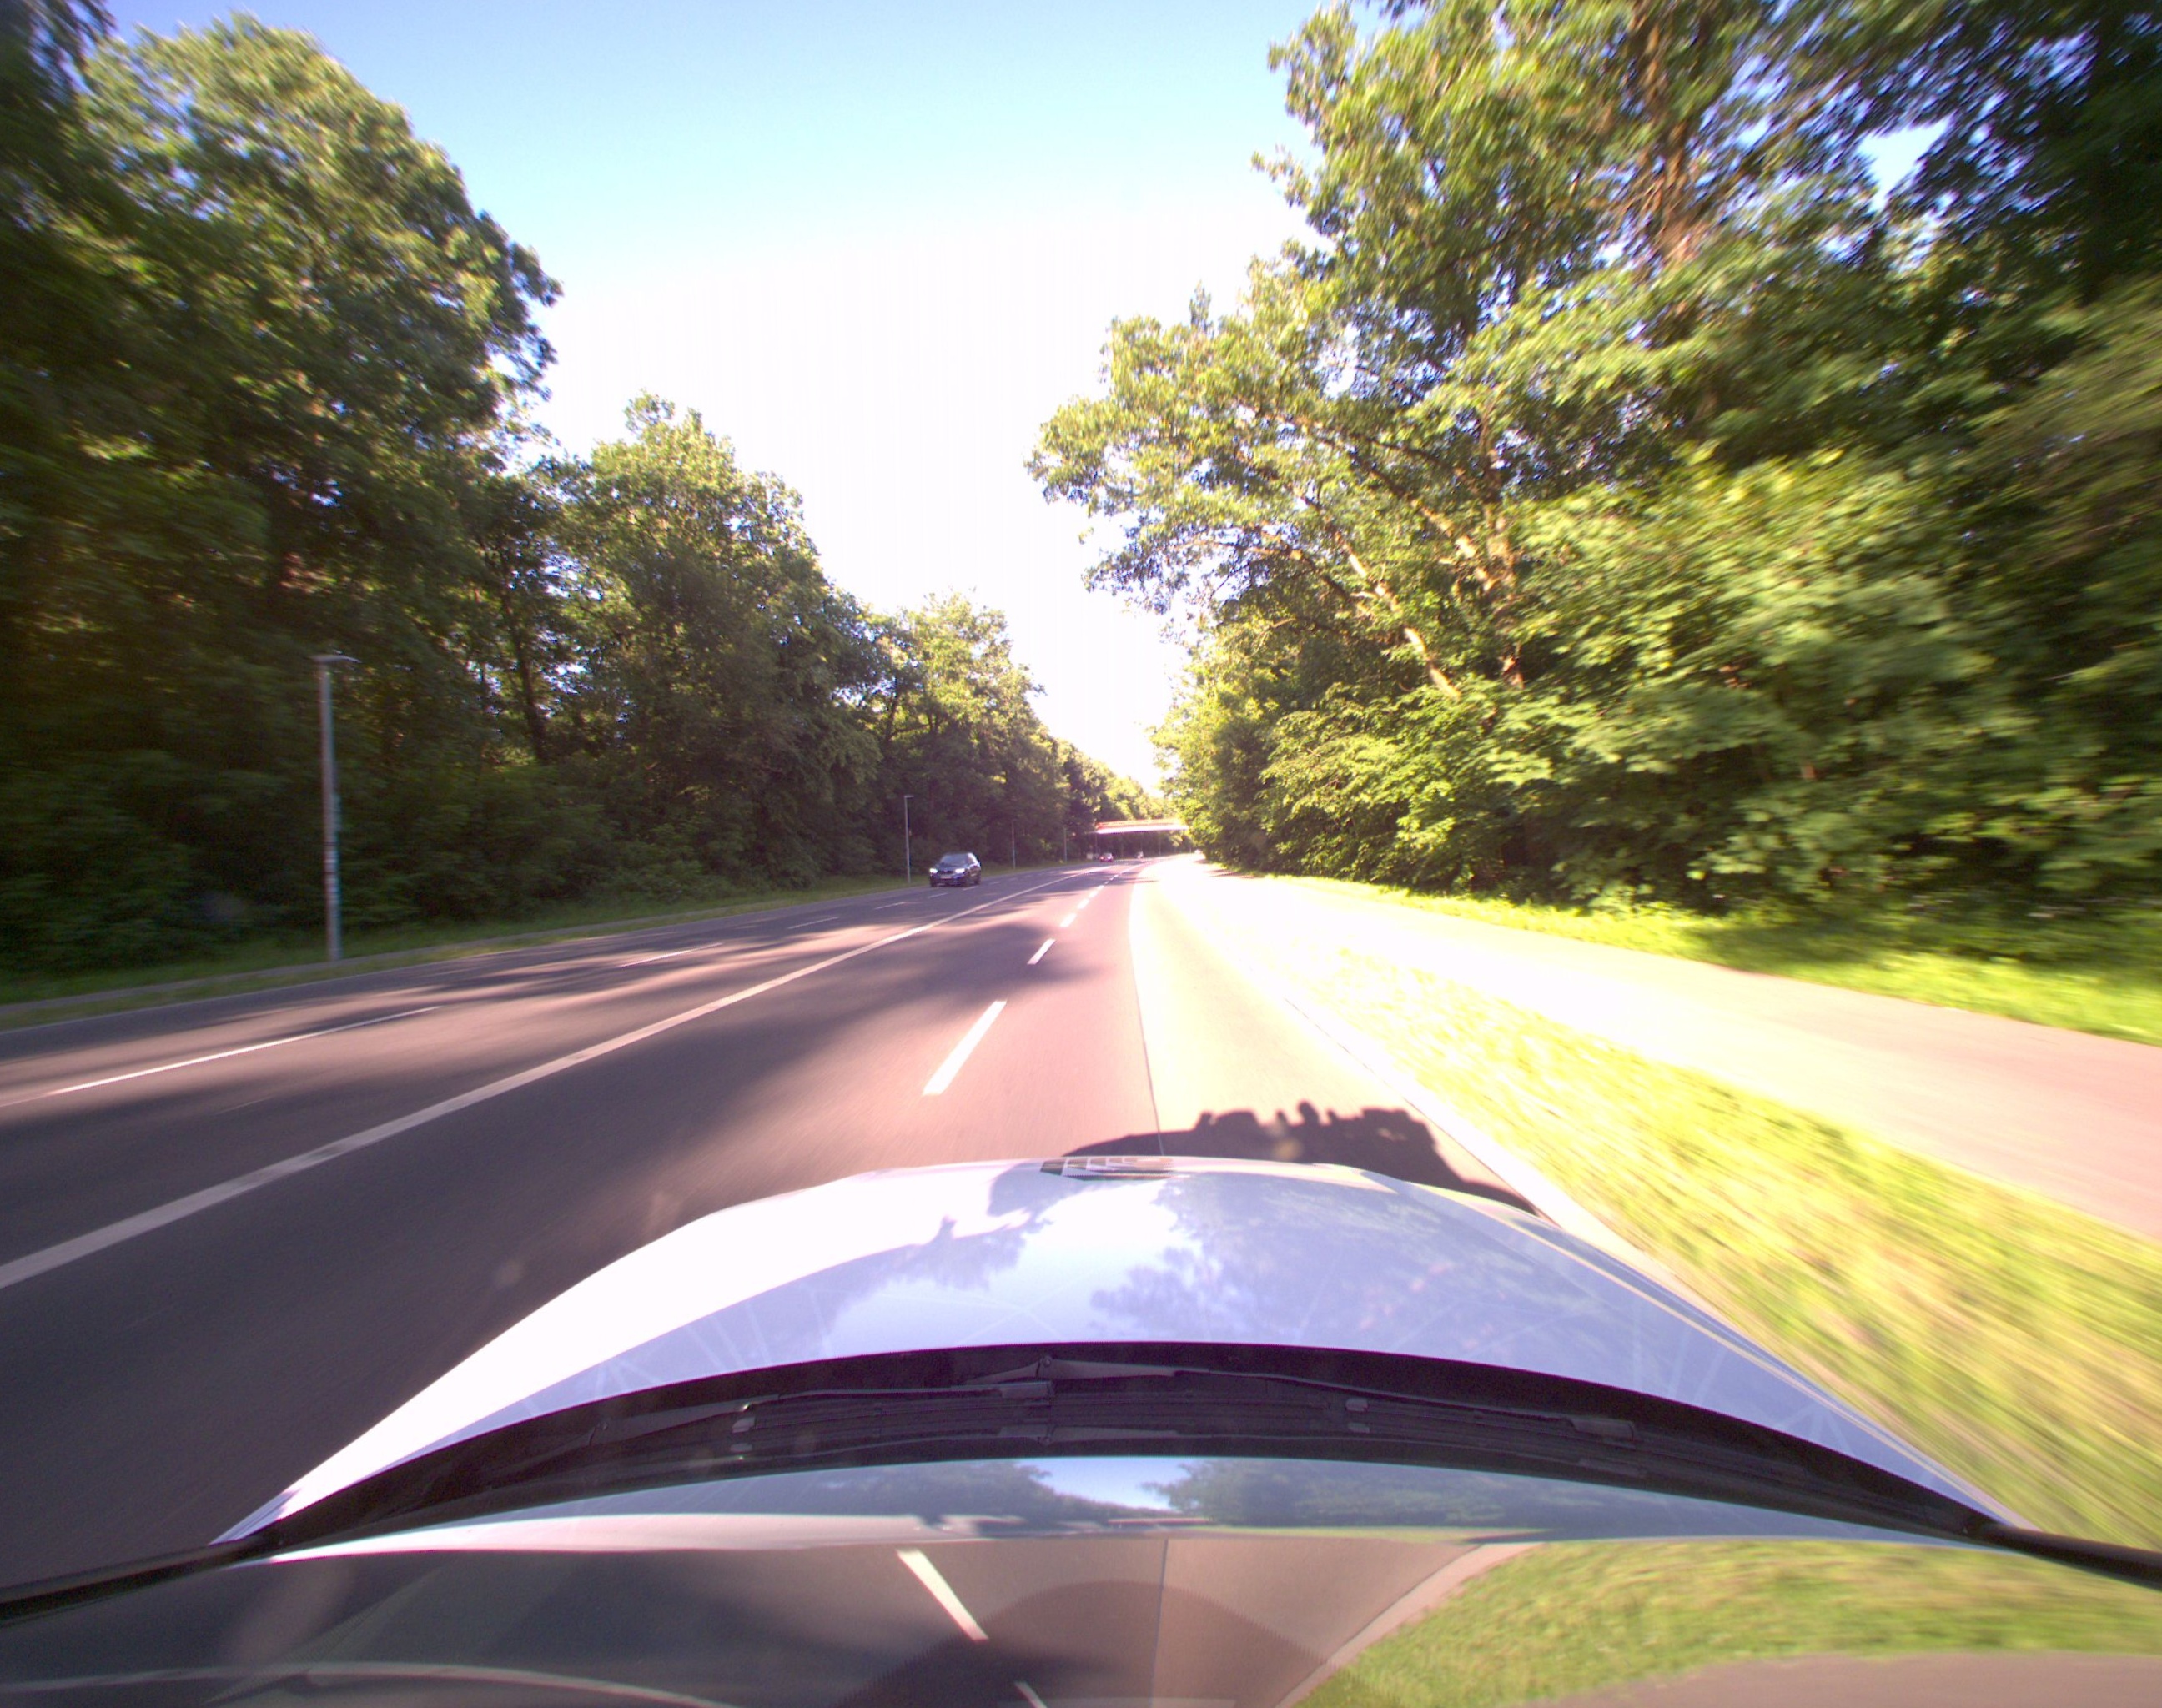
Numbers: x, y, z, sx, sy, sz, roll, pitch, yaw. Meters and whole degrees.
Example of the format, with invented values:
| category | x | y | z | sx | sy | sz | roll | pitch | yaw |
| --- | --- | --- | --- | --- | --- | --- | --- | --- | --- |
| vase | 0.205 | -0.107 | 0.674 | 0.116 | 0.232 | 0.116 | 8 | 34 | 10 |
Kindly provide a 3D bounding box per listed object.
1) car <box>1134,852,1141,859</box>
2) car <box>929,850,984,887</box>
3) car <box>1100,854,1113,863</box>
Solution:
| category | x | y | z | sx | sy | sz | roll | pitch | yaw |
| --- | --- | --- | --- | --- | --- | --- | --- | --- | --- |
| car | 12.459 | 0.362 | 180.439 | 1.488 | 1.444 | 3.505 | -2 | 0 | 5 |
| car | -6.087 | 0.669 | 40.317 | 1.800 | 1.663 | 4.525 | -1 | 0 | 3 |
| car | 4.068 | 0.723 | 129.684 | 1.701 | 1.423 | 4.138 | -2 | 0 | 7 |
